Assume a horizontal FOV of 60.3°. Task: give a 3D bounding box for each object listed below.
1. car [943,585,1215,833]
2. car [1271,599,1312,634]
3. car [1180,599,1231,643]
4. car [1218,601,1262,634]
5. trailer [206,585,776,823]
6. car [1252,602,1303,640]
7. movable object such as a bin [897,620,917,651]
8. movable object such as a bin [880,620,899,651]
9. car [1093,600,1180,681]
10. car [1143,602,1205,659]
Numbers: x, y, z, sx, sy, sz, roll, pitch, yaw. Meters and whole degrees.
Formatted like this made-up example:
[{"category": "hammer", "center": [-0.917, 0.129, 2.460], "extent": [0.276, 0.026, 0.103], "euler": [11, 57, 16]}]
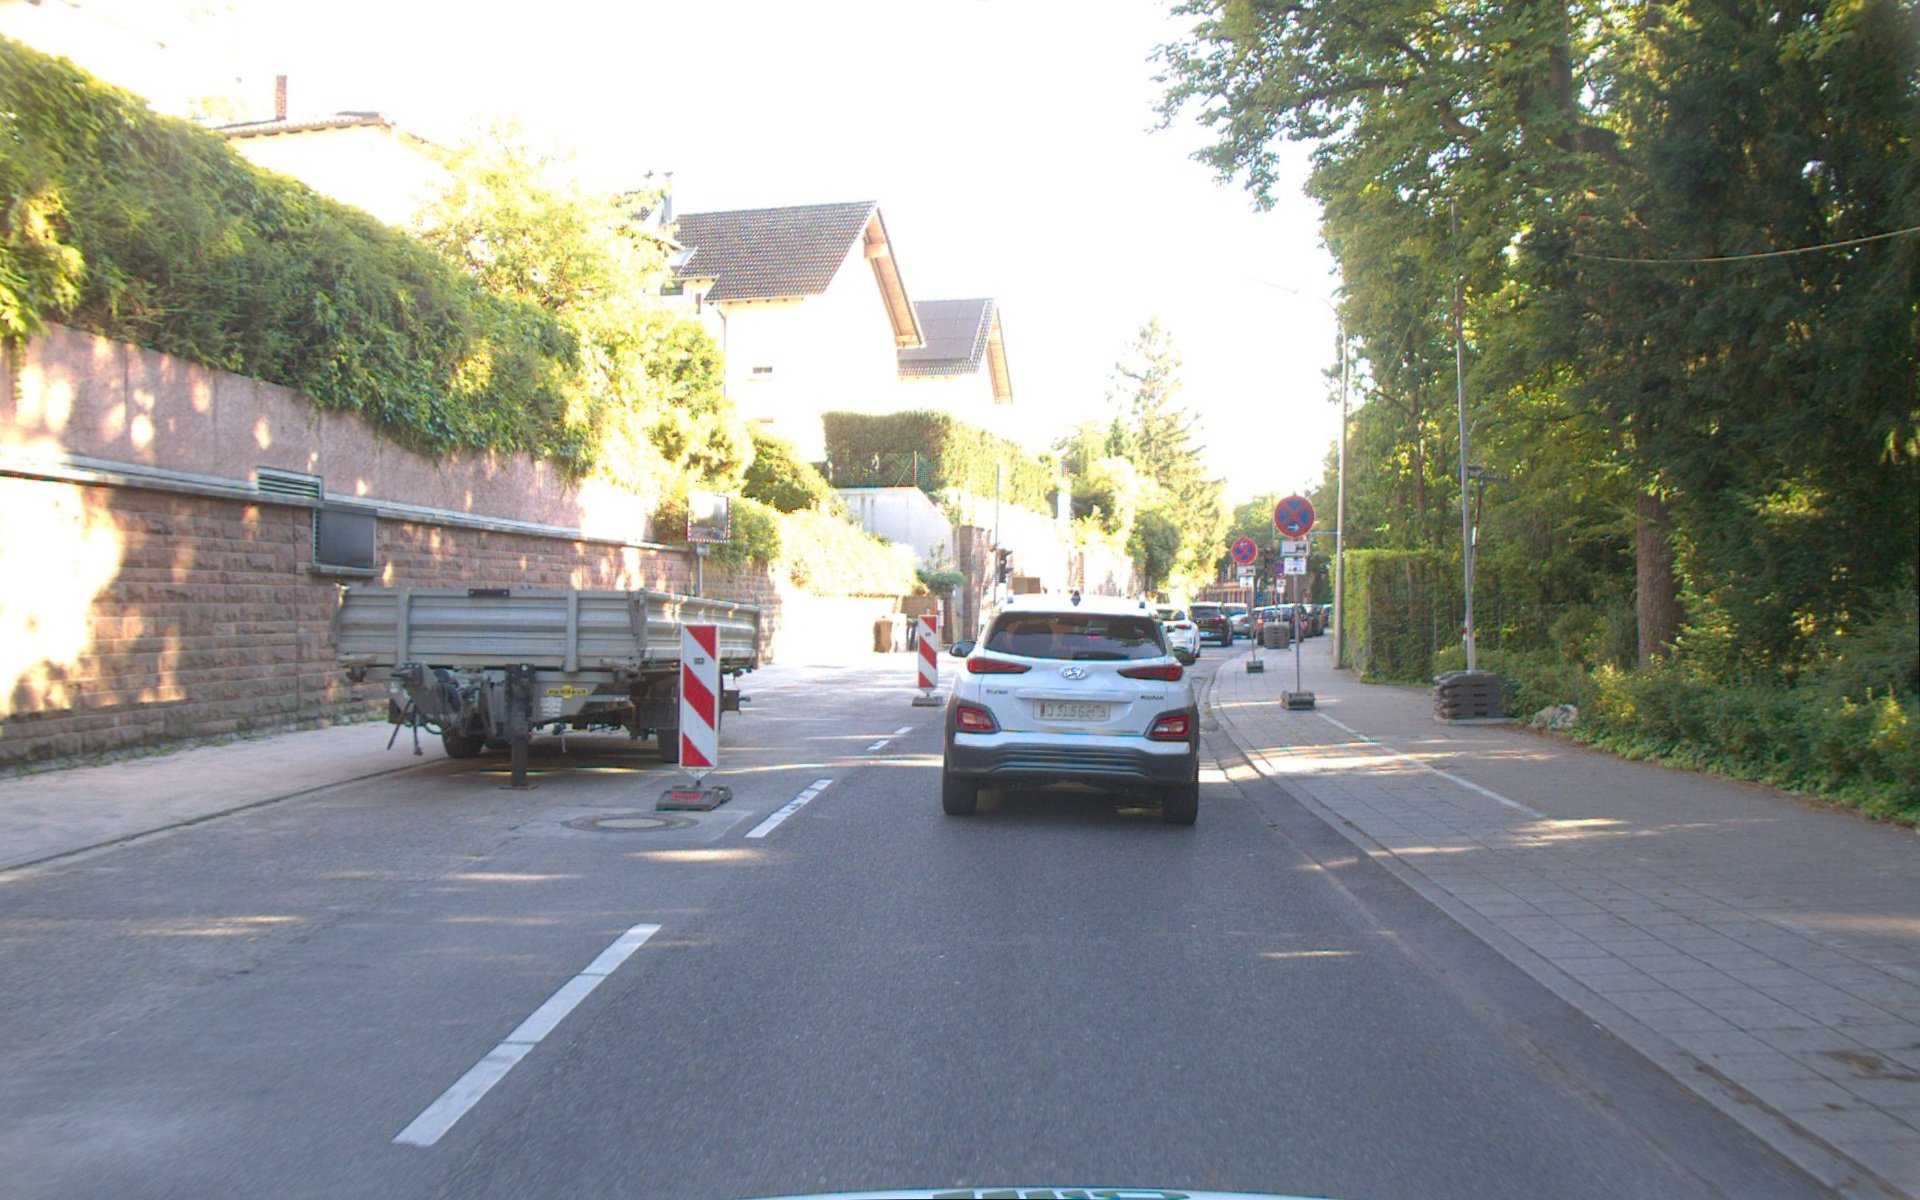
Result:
[{"category": "car", "center": [0.955, 0.716, 12.805], "extent": [1.735, 1.569, 4.002], "euler": [1, 0, 5]}, {"category": "car", "center": [15.224, 0.751, 75.911], "extent": [1.618, 1.591, 2.874], "euler": [0, 0, 17]}, {"category": "car", "center": [9.233, 0.761, 62.008], "extent": [1.657, 1.560, 3.885], "euler": [0, 0, 12]}, {"category": "car", "center": [12.972, 0.800, 76.499], "extent": [1.658, 1.472, 3.884], "euler": [0, 0, 15]}, {"category": "trailer", "center": [-3.520, 0.700, 14.533], "extent": [2.584, 1.515, 7.121], "euler": [1, 0, 3]}, {"category": "car", "center": [12.655, 0.816, 65.773], "extent": [1.756, 1.466, 4.003], "euler": [0, 0, 14]}, {"category": "movable object such as a bin", "center": [-1.548, 1.031, 48.465], "extent": [0.446, 0.899, 0.501], "euler": [1, 0, 13]}, {"category": "movable object such as a bin", "center": [-1.980, 0.997, 46.483], "extent": [0.444, 0.848, 0.392], "euler": [0, 0, 13]}, {"category": "car", "center": [3.650, 0.786, 33.808], "extent": [1.479, 1.560, 3.551], "euler": [0, 0, 11]}, {"category": "car", "center": [6.065, 0.831, 46.643], "extent": [1.537, 1.503, 3.551], "euler": [1, 0, 10]}]
